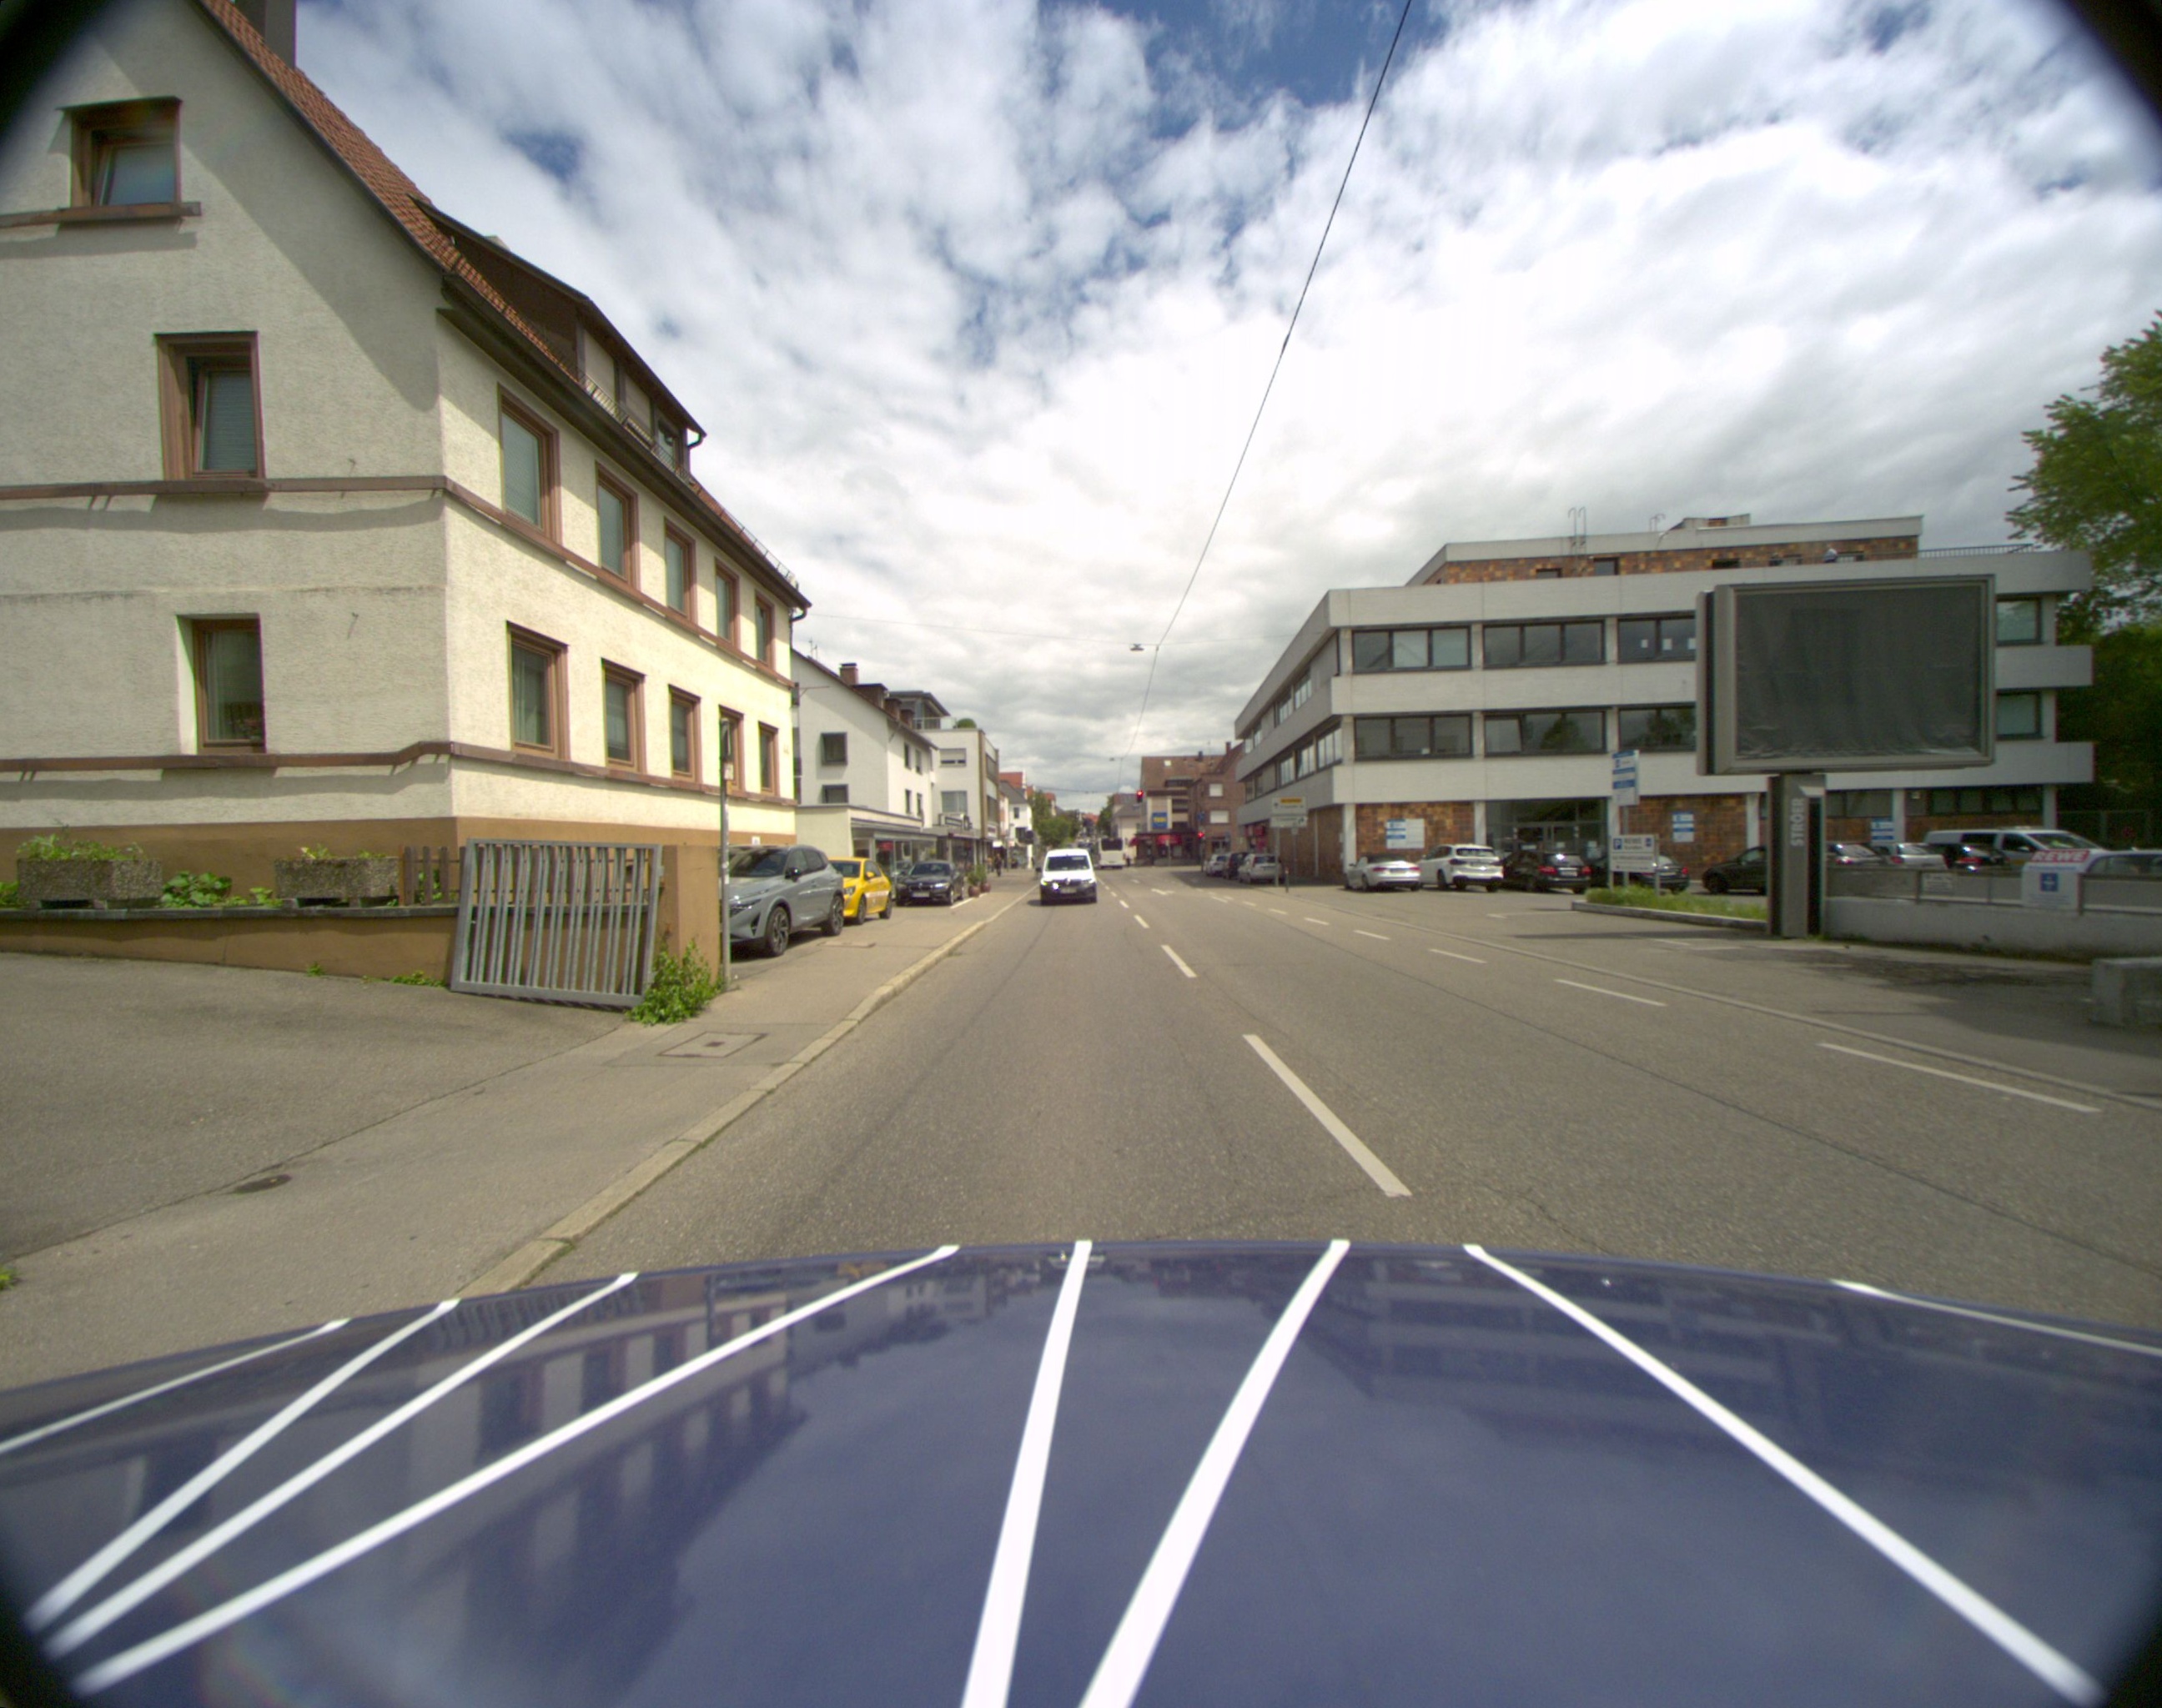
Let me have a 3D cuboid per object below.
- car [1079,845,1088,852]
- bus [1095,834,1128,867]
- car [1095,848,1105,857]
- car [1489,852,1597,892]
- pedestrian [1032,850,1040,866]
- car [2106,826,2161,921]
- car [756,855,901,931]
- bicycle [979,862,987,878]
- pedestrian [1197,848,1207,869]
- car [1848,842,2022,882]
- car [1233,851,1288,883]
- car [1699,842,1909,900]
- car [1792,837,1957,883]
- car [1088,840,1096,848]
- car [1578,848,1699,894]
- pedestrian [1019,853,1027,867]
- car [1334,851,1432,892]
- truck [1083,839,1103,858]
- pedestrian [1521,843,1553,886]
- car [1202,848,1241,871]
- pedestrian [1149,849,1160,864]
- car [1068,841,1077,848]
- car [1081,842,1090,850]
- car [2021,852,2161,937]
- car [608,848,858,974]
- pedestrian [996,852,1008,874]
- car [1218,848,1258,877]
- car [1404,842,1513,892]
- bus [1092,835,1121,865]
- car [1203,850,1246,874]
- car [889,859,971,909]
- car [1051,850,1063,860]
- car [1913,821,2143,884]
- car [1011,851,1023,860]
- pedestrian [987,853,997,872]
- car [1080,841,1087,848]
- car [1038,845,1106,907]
[{"bbox_3d":[0.546,-1.193,169.976,1.681,1.626,2.833,-1,0,-2],"label":"car"},{"bbox_3d":[3.016,-0.376,77.199,2.723,3.145,8.066,-1,0,-2],"label":"bus"},{"bbox_3d":[3.934,-0.279,155.182,1.950,1.810,4.278,-1,0,0],"label":"car"},{"bbox_3d":[16.447,0.608,27.242,1.767,1.323,3.605,-1,0,2],"label":"car"},{"bbox_3d":[-5.031,0.458,84.480,0.581,1.820,0.882,0,1,16],"label":"pedestrian"},{"bbox_3d":[23.336,0.392,14.346,1.842,1.978,4.649,-1,0,3],"label":"car"},{"bbox_3d":[-5.361,0.828,16.755,1.882,1.438,4.308,-1,-2,-2],"label":"car"},{"bbox_3d":[-6.568,1.055,51.027,0.476,1.022,1.634,-1,0,-9],"label":"bicycle"},{"bbox_3d":[9.888,0.364,62.000,0.719,1.635,0.682,-2,1,5],"label":"pedestrian"},{"bbox_3d":[29.896,0.262,26.797,1.850,1.287,4.001,-1,0,5],"label":"car"},{"bbox_3d":[8.689,0.592,37.049,1.726,1.414,4.148,-2,0,1],"label":"car"},{"bbox_3d":[21.972,0.477,23.384,1.927,1.569,4.493,-1,0,-7],"label":"car"},{"bbox_3d":[27.763,0.192,26.802,1.850,1.453,4.001,-1,0,5],"label":"car"},{"bbox_3d":[2.841,-2.686,199.701,2.111,2.109,4.764,-1,0,-1],"label":"car"},{"bbox_3d":[19.819,0.556,27.191,1.767,1.537,3.605,-1,0,2],"label":"car"},{"bbox_3d":[-6.403,0.655,83.646,0.779,1.517,0.819,-1,1,2],"label":"pedestrian"},{"bbox_3d":[10.980,0.576,28.051,1.955,1.350,4.856,-1,0,4],"label":"car"},{"bbox_3d":[1.985,-0.945,128.556,2.861,3.075,8.086,-1,0,-3],"label":"truck"},{"bbox_3d":[18.044,0.397,30.083,0.719,1.662,0.995,1,1,6],"label":"pedestrian"},{"bbox_3d":[10.049,0.371,54.588,2.049,1.467,4.285,-2,0,1],"label":"car"},{"bbox_3d":[8.278,0.278,85.319,0.908,1.713,0.849,-1,1,-42],"label":"pedestrian"},{"bbox_3d":[-2.004,-2.207,180.113,2.150,1.747,3.973,-1,0,0],"label":"car"},{"bbox_3d":[1.168,-1.931,188.461,1.954,1.866,4.875,-1,2,-1],"label":"car"},{"bbox_3d":[20.637,0.734,14.048,1.817,1.520,3.756,-1,0,-3],"label":"car"},{"bbox_3d":[-5.105,0.726,11.966,1.865,1.602,4.585,0,0,-1],"label":"car"},{"bbox_3d":[-5.834,0.669,56.353,0.797,1.661,0.807,0,1,-1],"label":"pedestrian"},{"bbox_3d":[8.917,0.451,43.387,1.740,1.547,3.057,-2,0,3],"label":"car"},{"bbox_3d":[13.608,0.438,27.744,1.955,1.610,4.932,1,0,6],"label":"car"},{"bbox_3d":[2.769,-0.428,86.236,2.689,3.145,10.182,-1,0,-1],"label":"bus"},{"bbox_3d":[9.223,0.492,49.151,2.049,1.436,4.953,-2,0,3],"label":"car"},{"bbox_3d":[-4.895,0.916,25.265,1.973,1.439,4.534,-1,0,-2],"label":"car"},{"bbox_3d":[-4.329,0.172,137.621,1.999,1.654,3.999,-1,0,0],"label":"car"},{"bbox_3d":[32.512,-0.055,26.408,1.972,1.930,5.090,-1,0,6],"label":"car"},{"bbox_3d":[-12.747,0.325,151.789,2.150,1.747,3.973,-1,0,0],"label":"car"},{"bbox_3d":[-7.370,0.700,62.922,0.681,1.490,0.720,-1,1,0],"label":"pedestrian"},{"bbox_3d":[0.615,-2.726,211.202,1.819,1.919,4.112,-1,0,0],"label":"car"},{"bbox_3d":[-0.361,0.669,25.660,2.000,1.797,4.764,-2,0,-2],"label":"car"}]
